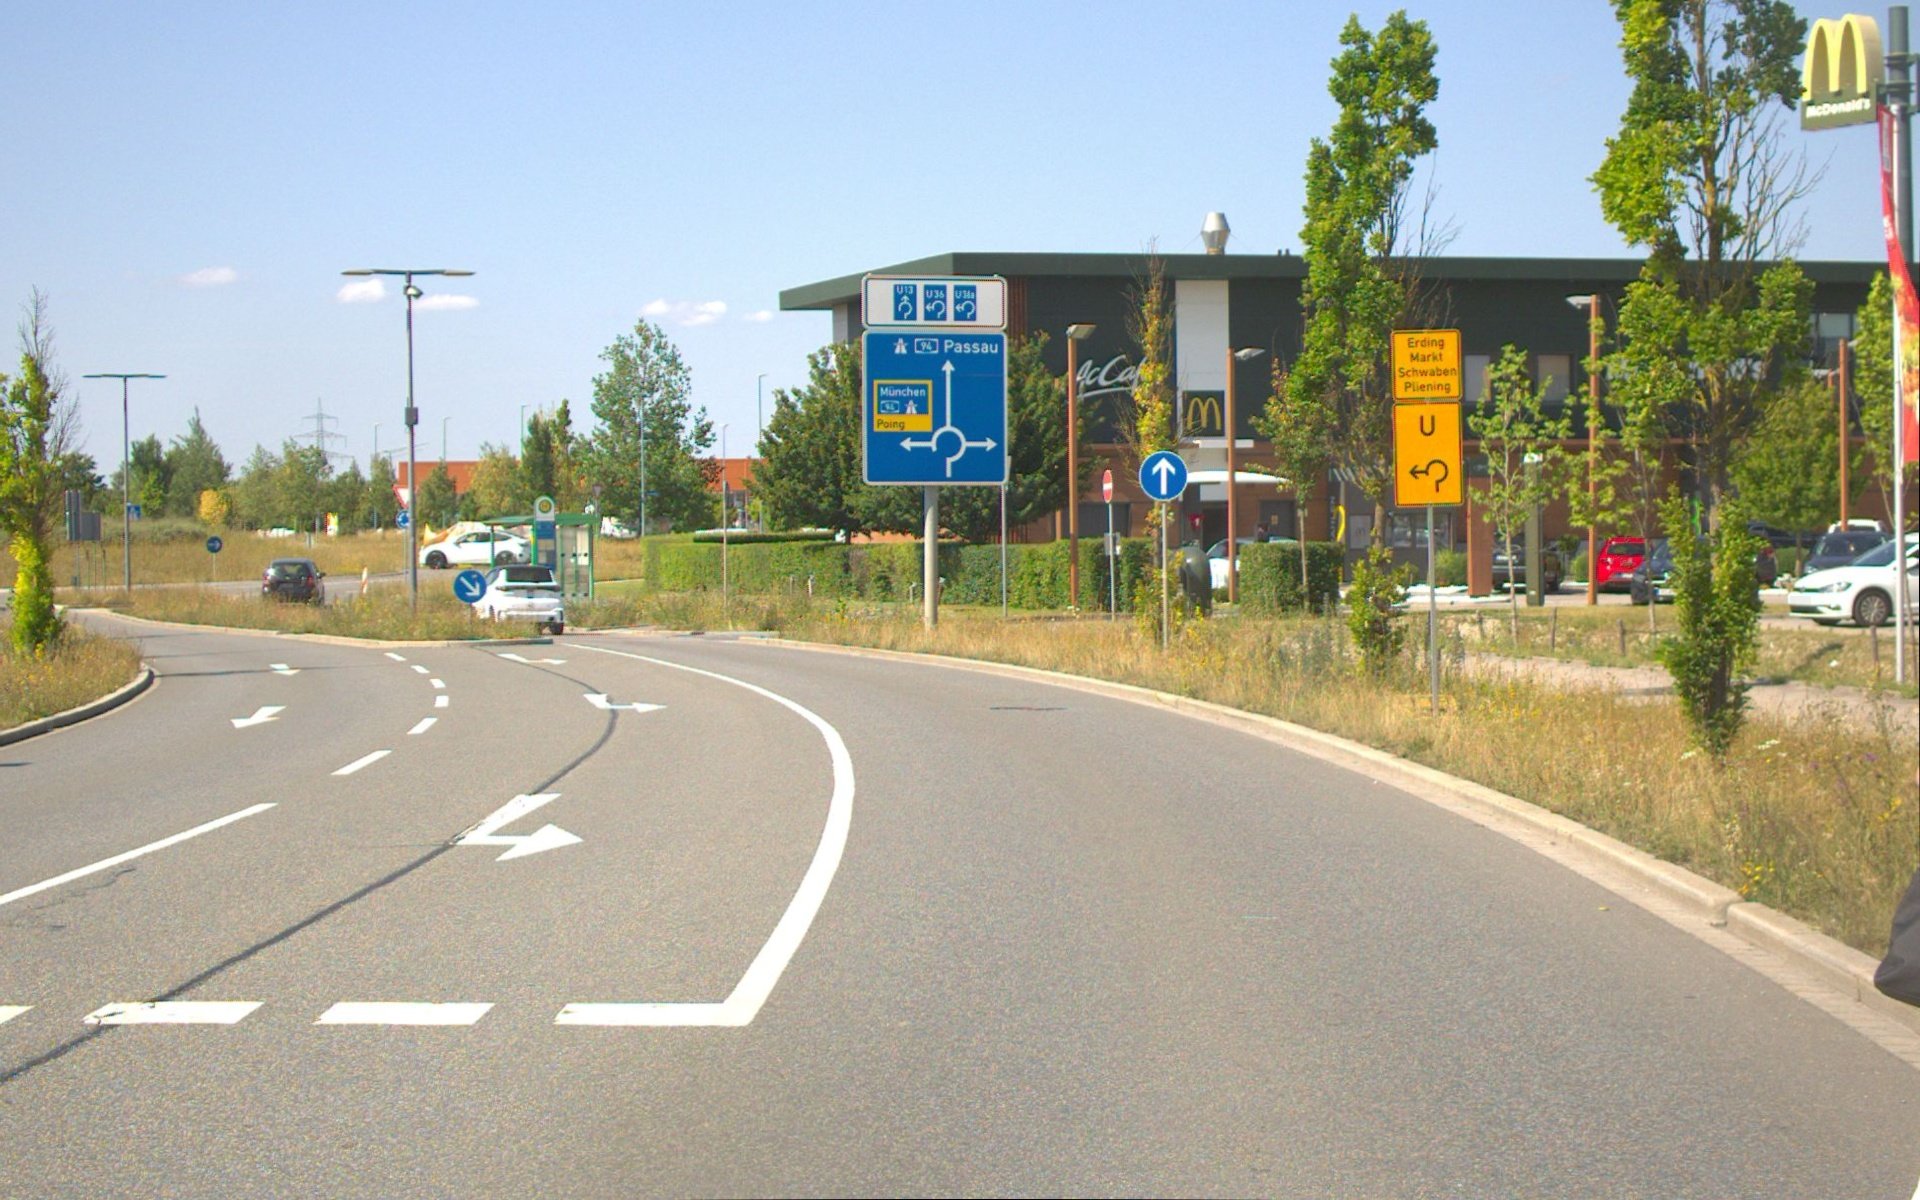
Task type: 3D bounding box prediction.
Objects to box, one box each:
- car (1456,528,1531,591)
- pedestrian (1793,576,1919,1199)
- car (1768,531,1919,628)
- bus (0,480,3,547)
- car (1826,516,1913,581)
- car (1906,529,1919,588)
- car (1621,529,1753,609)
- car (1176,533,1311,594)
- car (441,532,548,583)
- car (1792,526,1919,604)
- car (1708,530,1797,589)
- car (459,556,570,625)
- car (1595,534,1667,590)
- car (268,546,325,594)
[{"bbox_3d":[14.094,-1.077,90.673,1.793,1.599,3.998,-1,1,11],"label":"car"},{"bbox_3d":[2.144,0.689,6.775,0.793,1.465,0.949,0,1,2],"label":"pedestrian"},{"bbox_3d":[15.706,-0.372,56.115,4.524,1.485,1.869,-1,2,-12],"label":"car"},{"bbox_3d":[-46.151,-3.582,150.620,2.788,3.068,12.199,-1,3,11],"label":"bus"},{"bbox_3d":[24.891,-1.416,94.024,1.794,1.696,3.996,-1,1,22],"label":"car"},{"bbox_3d":[24.235,-1.009,80.017,3.993,1.368,1.796,-1,1,27],"label":"car"},{"bbox_3d":[14.105,-0.616,66.536,1.699,1.457,4.164,-1,1,23],"label":"car"},{"bbox_3d":[6.940,-0.890,84.527,1.792,1.429,4.001,-1,1,-20],"label":"car"},{"bbox_3d":[-18.999,-1.737,140.404,3.987,2.007,1.834,0,1,4],"label":"car"},{"bbox_3d":[17.705,-0.707,67.853,1.788,1.457,4.164,-1,1,23],"label":"car"},{"bbox_3d":[21.321,-1.099,92.345,1.794,1.508,3.996,-1,1,21],"label":"car"},{"bbox_3d":[-9.504,-0.221,73.125,1.616,1.429,3.793,-1,1,-18],"label":"car"},{"bbox_3d":[17.799,-1.030,91.198,1.793,1.429,3.998,-1,1,11],"label":"car"},{"bbox_3d":[-20.277,-0.924,104.978,1.616,1.429,3.793,-1,1,-12],"label":"car"}]
